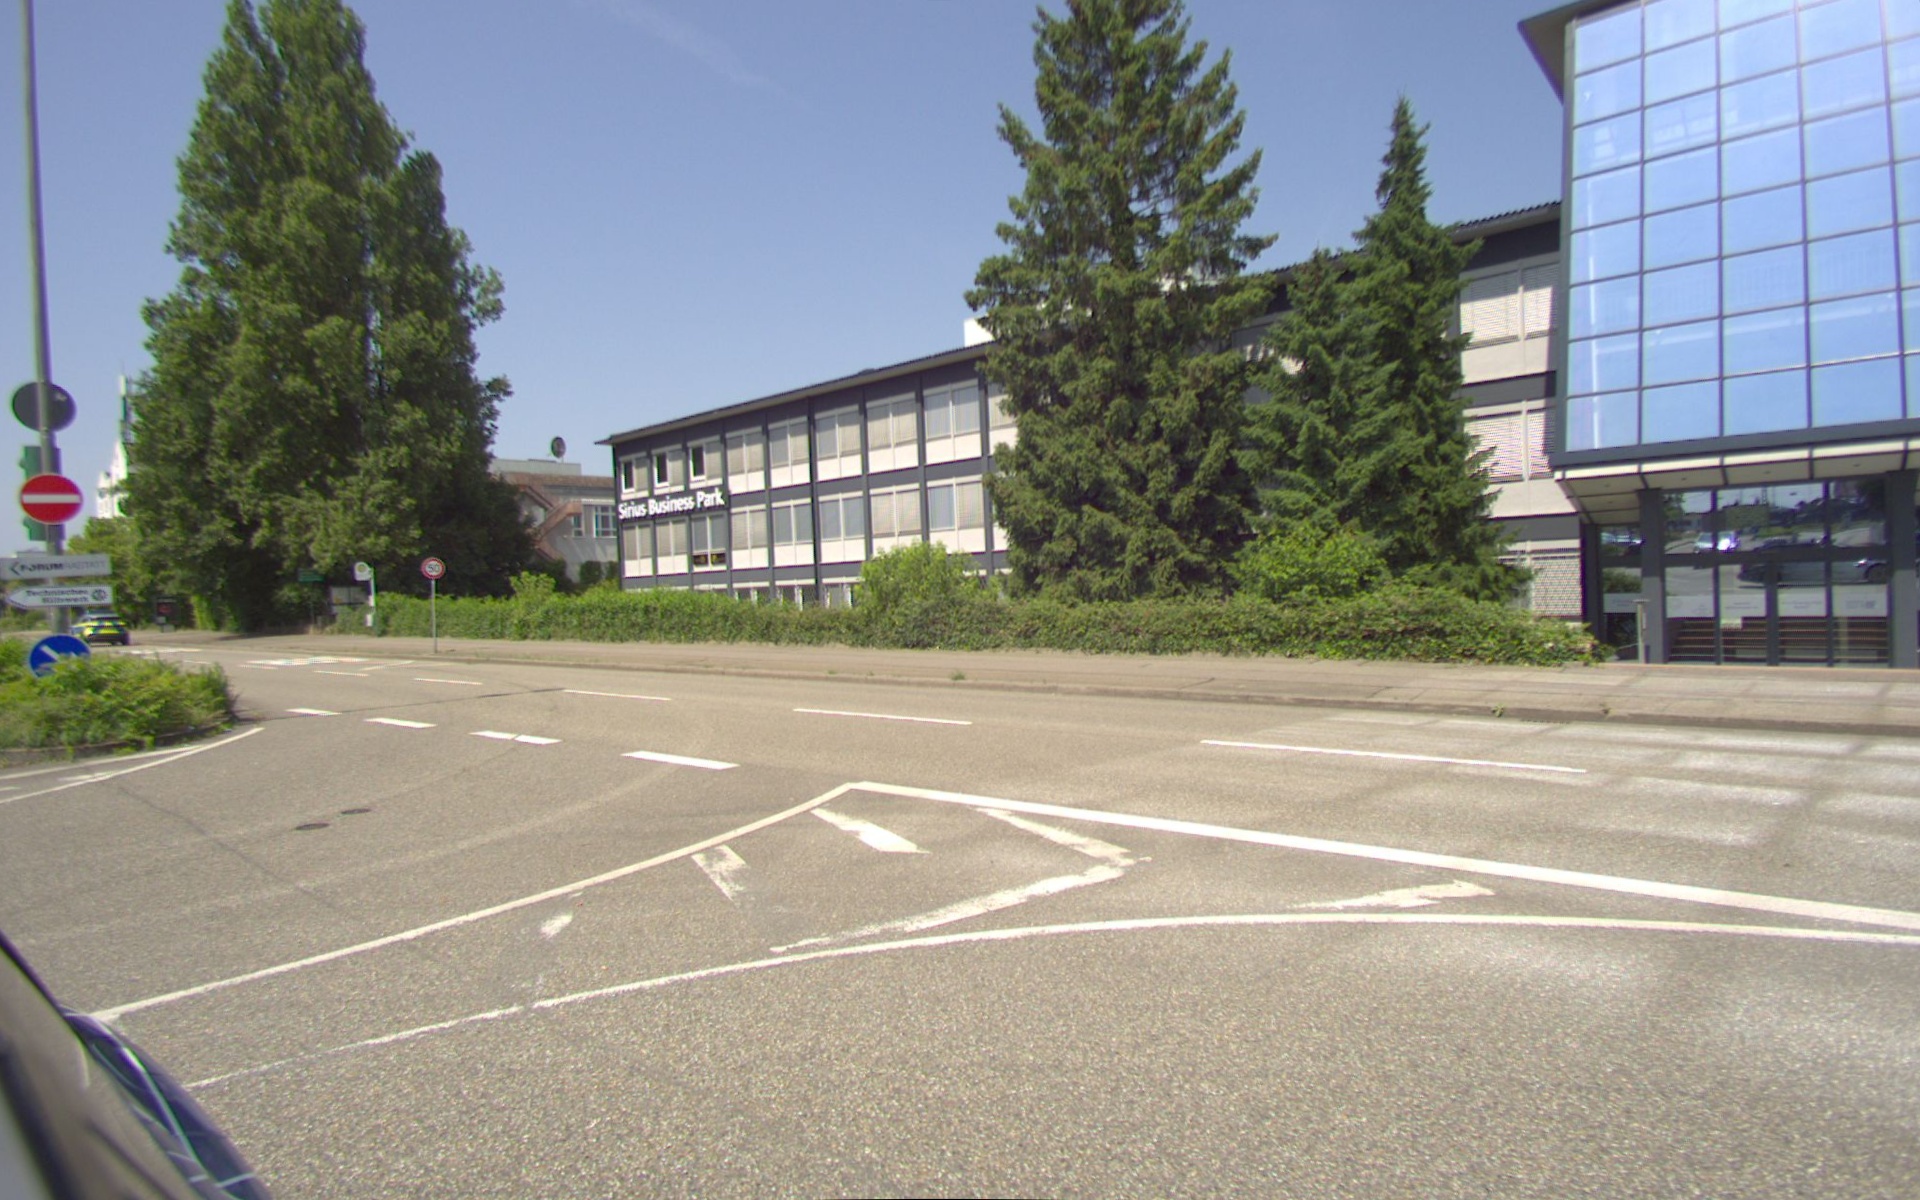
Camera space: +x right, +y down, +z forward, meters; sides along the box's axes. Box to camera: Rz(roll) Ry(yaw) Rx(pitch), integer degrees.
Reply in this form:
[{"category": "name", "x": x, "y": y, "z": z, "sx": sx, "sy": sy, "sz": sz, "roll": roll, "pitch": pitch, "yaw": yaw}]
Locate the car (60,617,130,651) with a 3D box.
[{"category": "car", "x": -43.148, "y": 1.692, "z": 50.462, "sx": 4.281, "sy": 1.572, "sz": 1.876, "roll": -1, "pitch": 0, "yaw": 39}]
